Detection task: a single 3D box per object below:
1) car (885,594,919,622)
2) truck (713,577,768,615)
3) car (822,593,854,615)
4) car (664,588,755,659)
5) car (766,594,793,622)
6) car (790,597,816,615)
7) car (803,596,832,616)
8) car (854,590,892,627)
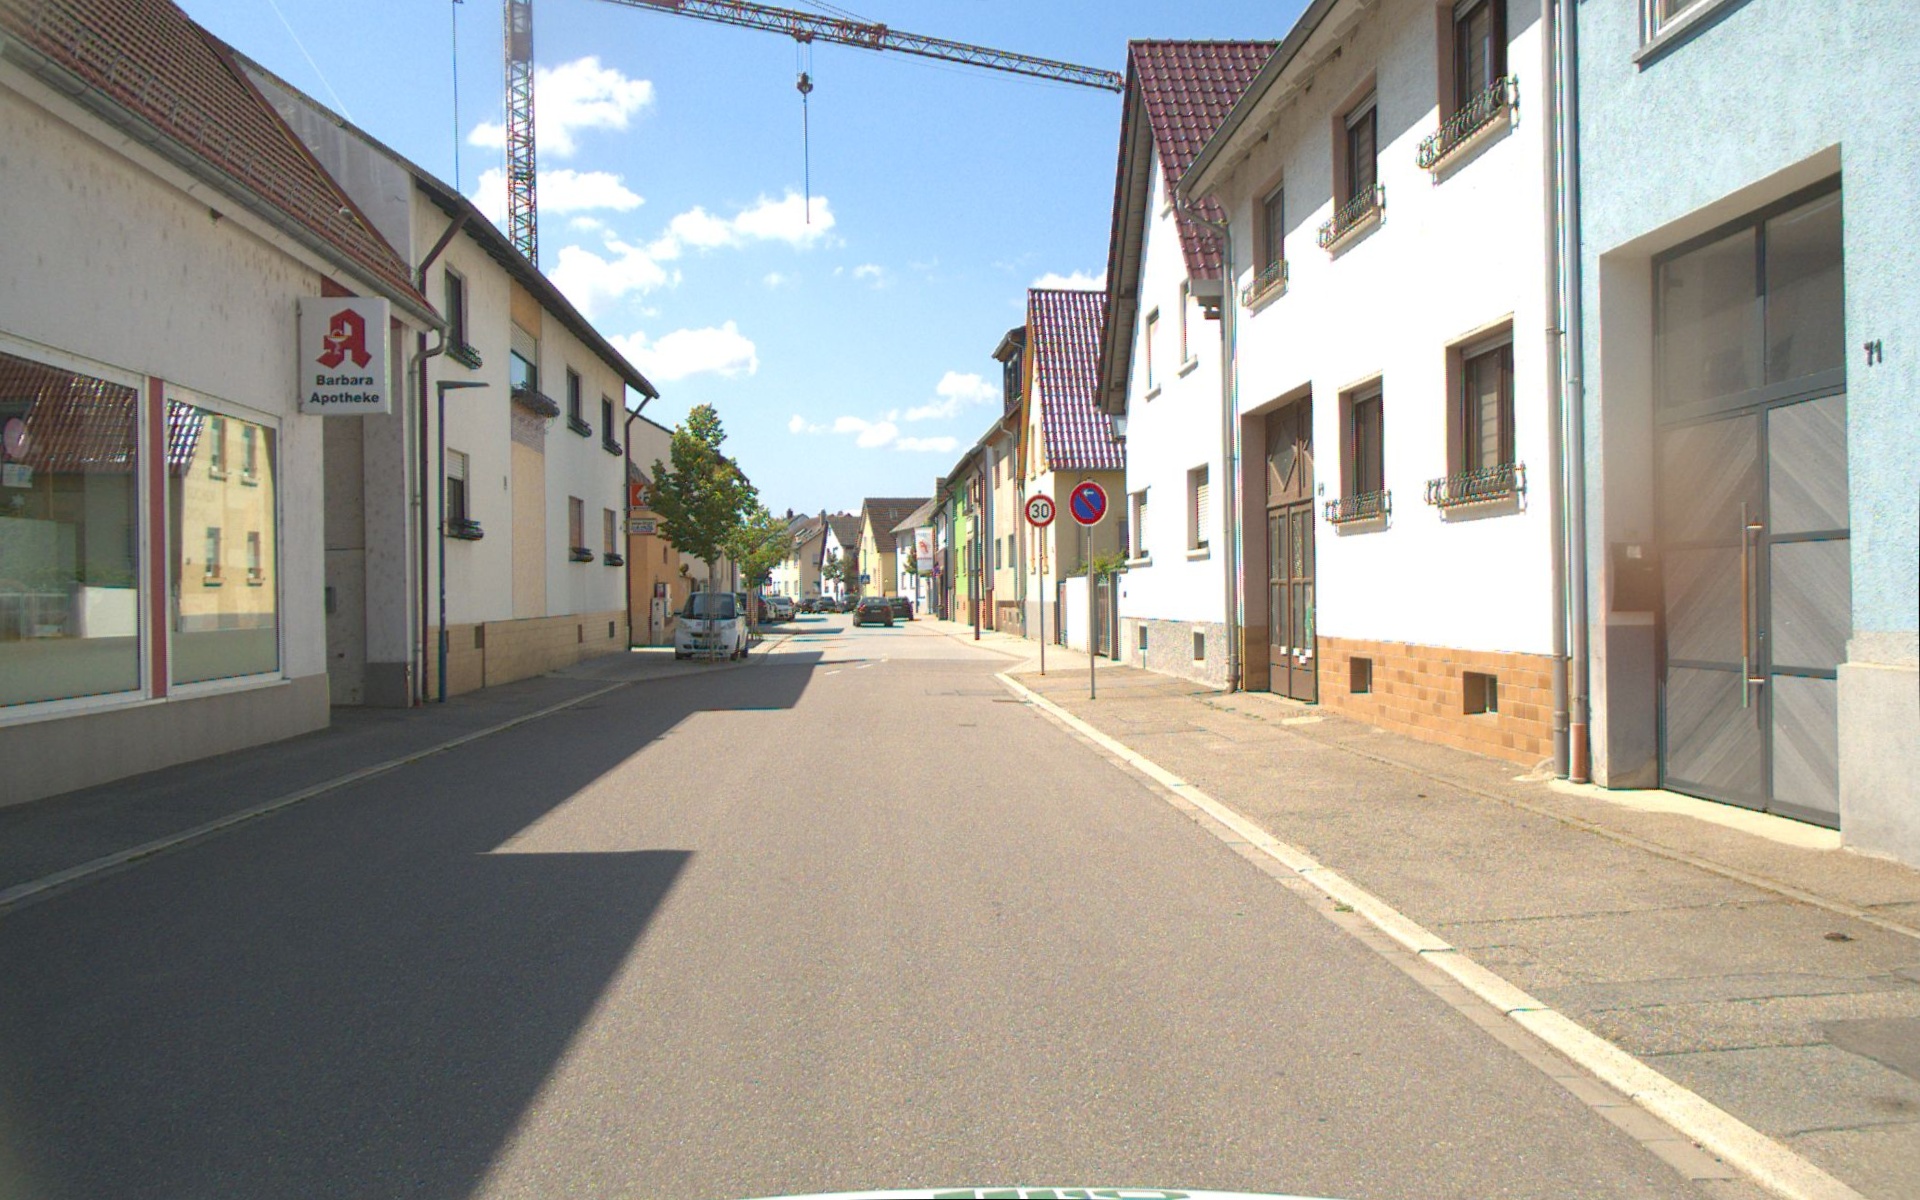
[{"bbox_3d":[-3.529,0.486,99.754,1.748,1.591,4.332,-2,0,-5],"label":"car"},{"bbox_3d":[-24.367,-0.368,182.705,3.328,3.933,13.847,-1,0,-19],"label":"truck"},{"bbox_3d":[-10.809,0.368,146.175,1.756,1.784,4.204,-1,0,-20],"label":"car"},{"bbox_3d":[-5.903,0.518,39.307,1.688,1.583,4.170,1,0,-3],"label":"car"},{"bbox_3d":[-11.813,0.523,108.278,1.701,1.716,4.225,1,0,-7],"label":"car"},{"bbox_3d":[-15.527,0.601,163.099,1.791,1.784,4.210,-1,0,-16],"label":"car"},{"bbox_3d":[-13.438,0.604,155.716,1.794,1.784,4.205,-1,0,-19],"label":"car"},{"bbox_3d":[-4.310,0.417,81.866,1.748,1.784,3.996,-2,0,-4],"label":"car"}]
